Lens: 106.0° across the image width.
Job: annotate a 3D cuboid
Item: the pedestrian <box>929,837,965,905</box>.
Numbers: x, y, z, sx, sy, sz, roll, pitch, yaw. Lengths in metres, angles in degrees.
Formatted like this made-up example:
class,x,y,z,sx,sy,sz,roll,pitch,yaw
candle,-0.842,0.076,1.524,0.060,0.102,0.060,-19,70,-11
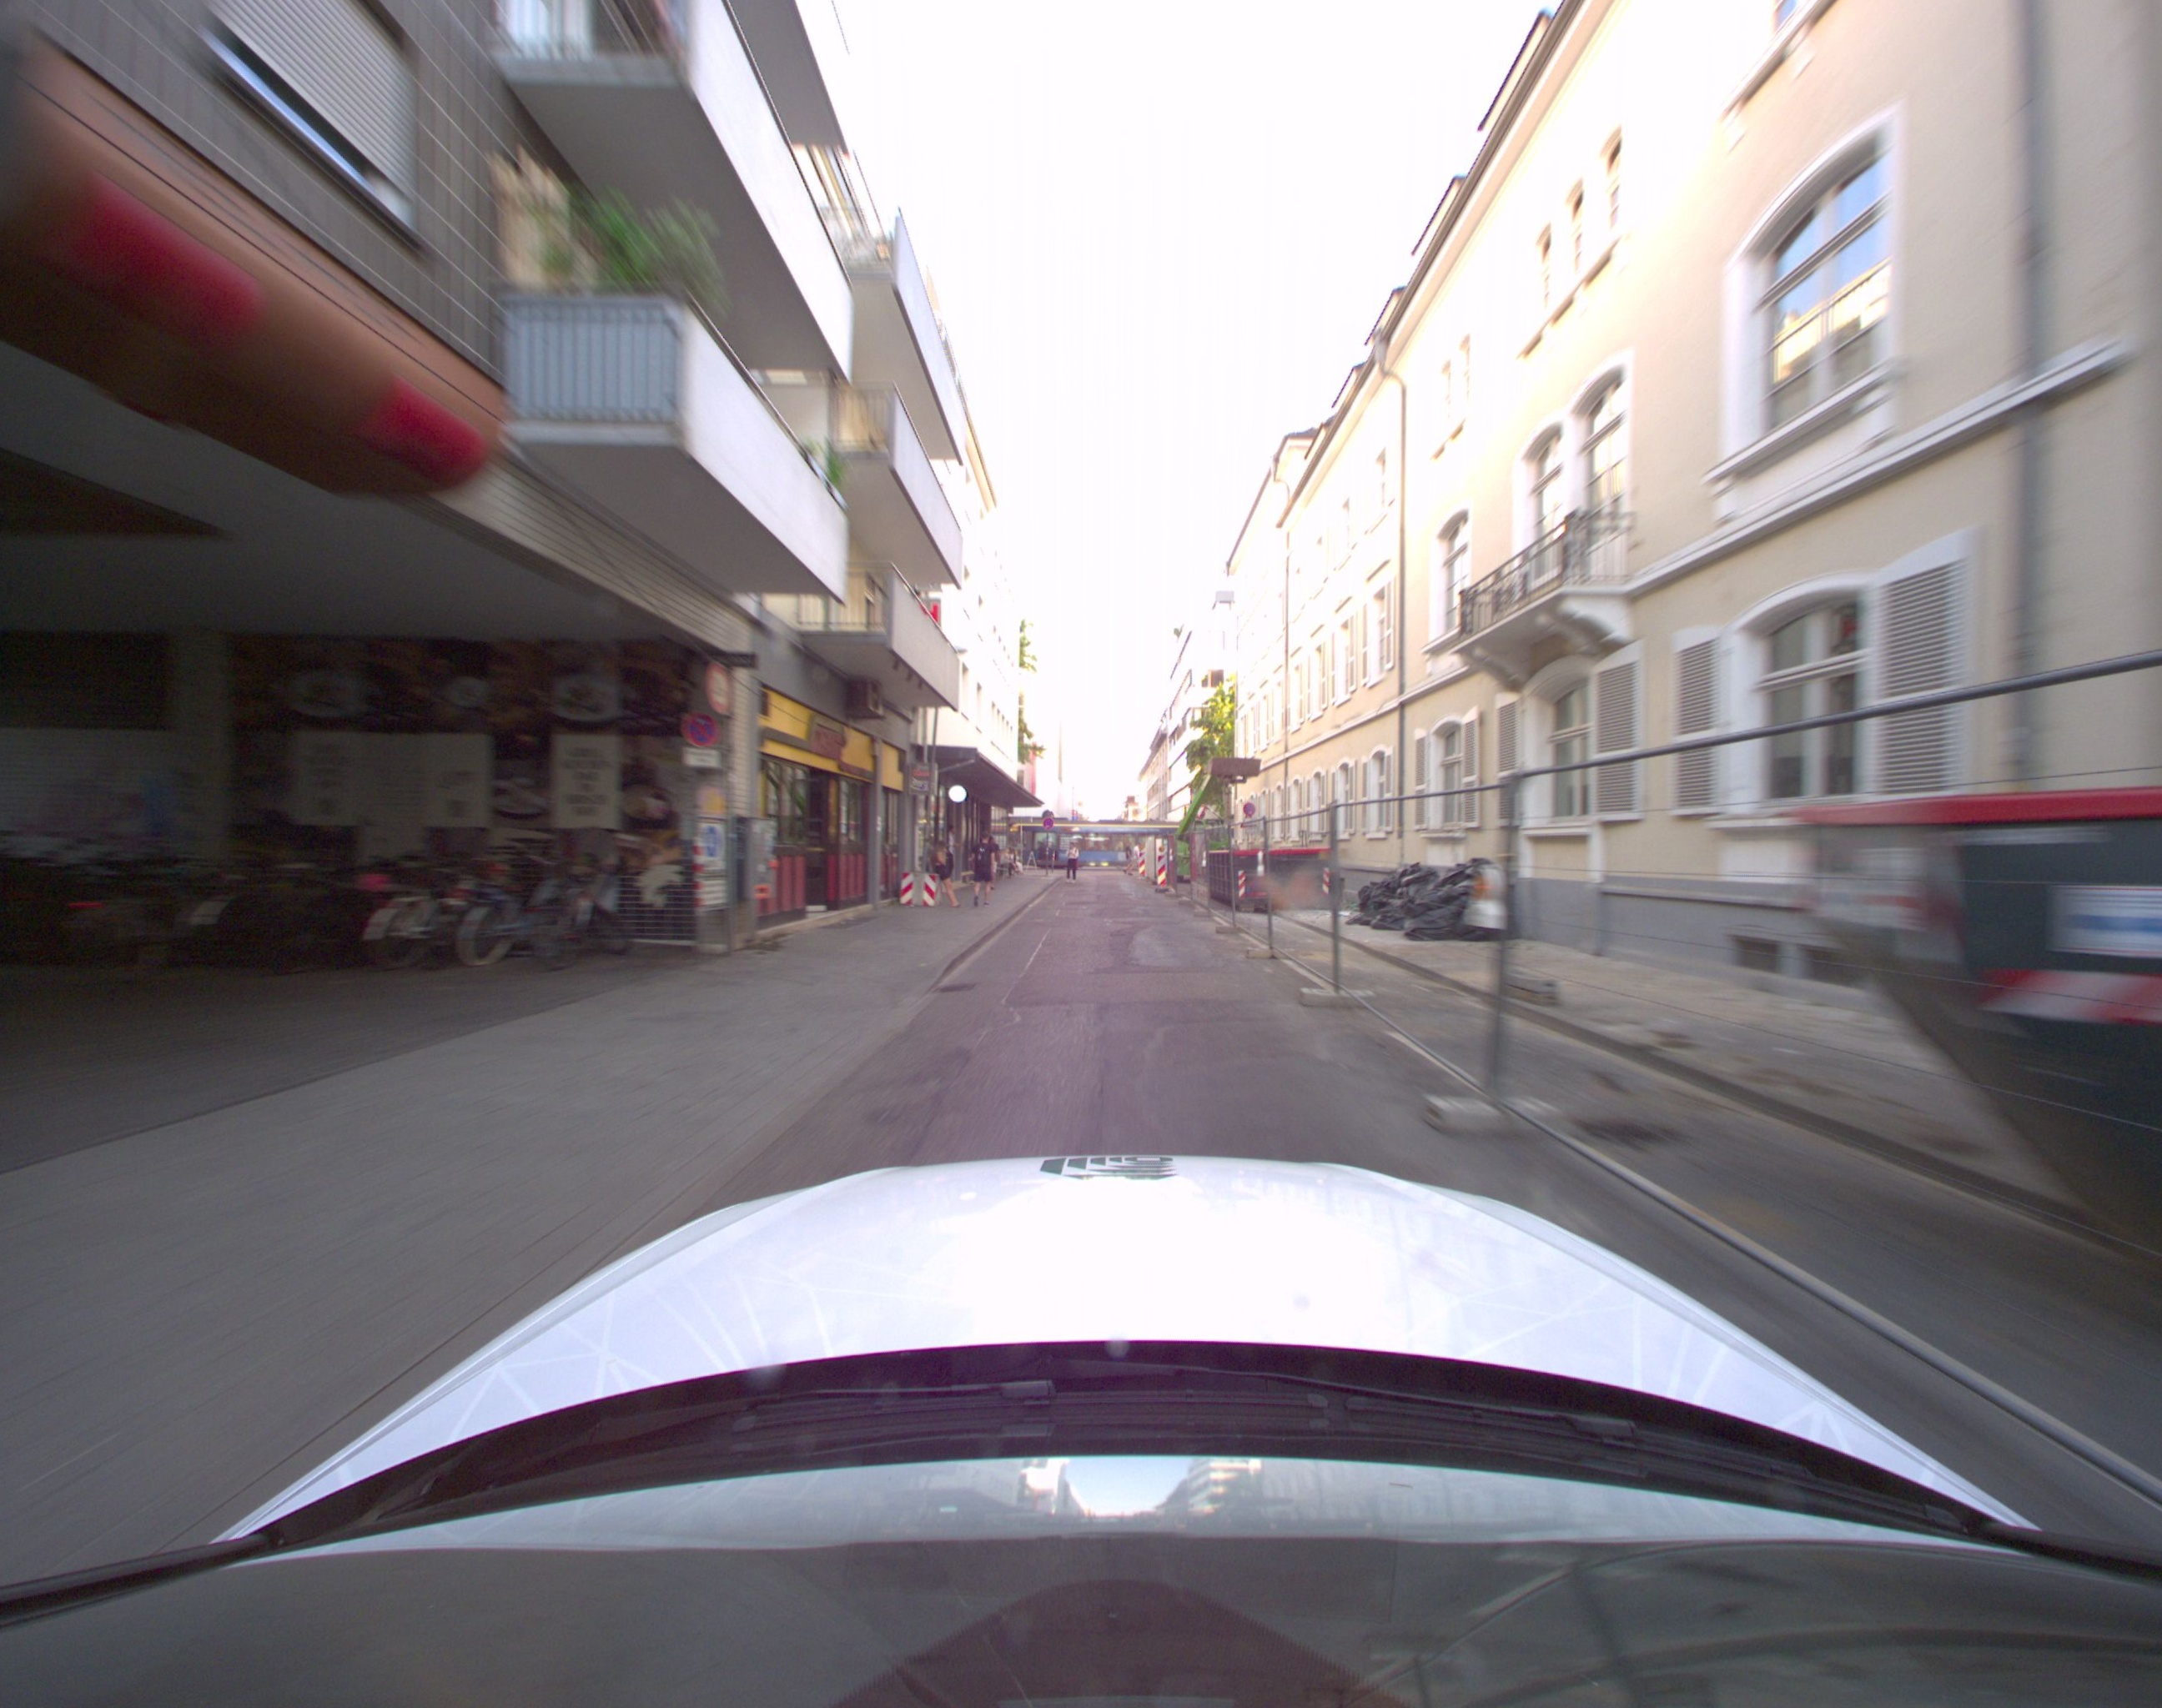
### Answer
class,x,y,z,sx,sy,sz,roll,pitch,yaw
pedestrian,-3.170,0.395,19.306,0.707,1.578,0.613,2,0,-2

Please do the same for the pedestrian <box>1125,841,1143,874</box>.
class,x,y,z,sx,sy,sz,roll,pitch,yaw
pedestrian,2.831,0.158,43.539,0.901,1.739,0.759,-1,0,2

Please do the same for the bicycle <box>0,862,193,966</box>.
class,x,y,z,sx,sy,sz,roll,pitch,yaw
bicycle,-11.132,0.623,9.122,0.425,1.017,1.656,-1,0,6

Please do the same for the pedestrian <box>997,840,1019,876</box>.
class,x,y,z,sx,sy,sz,roll,pitch,yaw
pedestrian,-3.180,0.176,35.481,0.700,1.547,0.863,1,0,9

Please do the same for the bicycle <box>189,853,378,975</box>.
class,x,y,z,sx,sy,sz,roll,pitch,yaw
bicycle,-8.527,0.587,8.806,0.426,1.160,1.652,2,1,-2

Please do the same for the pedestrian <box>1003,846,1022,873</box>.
class,x,y,z,sx,sy,sz,roll,pitch,yaw
pedestrian,-3.232,0.248,38.378,0.701,1.195,0.692,4,0,4

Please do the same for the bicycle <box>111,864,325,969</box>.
class,x,y,z,sx,sy,sz,roll,pitch,yaw
bicycle,-9.584,0.644,9.162,0.426,1.017,1.875,-1,1,-1

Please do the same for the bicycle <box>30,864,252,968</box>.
class,x,y,z,sx,sy,sz,roll,pitch,yaw
bicycle,-10.352,0.637,9.061,0.425,1.017,1.656,-1,0,6

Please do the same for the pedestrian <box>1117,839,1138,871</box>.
class,x,y,z,sx,sy,sz,roll,pitch,yaw
pedestrian,2.539,0.065,44.490,1.137,1.739,0.759,-1,0,2

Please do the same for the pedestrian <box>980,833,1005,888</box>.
class,x,y,z,sx,sy,sz,roll,pitch,yaw
pedestrian,-2.935,0.199,27.053,0.701,1.782,0.933,1,0,1

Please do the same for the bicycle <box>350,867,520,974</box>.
class,x,y,z,sx,sy,sz,roll,pitch,yaw
bicycle,-7.014,0.674,8.960,0.425,1.017,1.751,0,1,2

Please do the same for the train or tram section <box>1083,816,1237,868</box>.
class,x,y,z,sx,sy,sz,roll,pitch,yaw
train or tram section,5.305,-0.809,55.879,10.301,3.523,3.026,0,0,0

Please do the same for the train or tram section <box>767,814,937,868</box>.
class,x,y,z,sx,sy,sz,roll,pitch,yaw
train or tram section,-15.576,-0.858,55.910,10.773,3.523,3.013,0,0,0

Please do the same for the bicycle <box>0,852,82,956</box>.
class,x,y,z,sx,sy,sz,roll,pitch,yaw
bicycle,-12.349,0.561,8.987,0.502,1.157,1.656,-1,0,6

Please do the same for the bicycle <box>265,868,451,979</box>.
class,x,y,z,sx,sy,sz,roll,pitch,yaw
bicycle,-7.624,0.684,8.689,0.450,1.017,1.654,1,1,2

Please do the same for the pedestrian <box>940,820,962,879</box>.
class,x,y,z,sx,sy,sz,roll,pitch,yaw
pedestrian,-4.025,-0.140,25.203,0.542,1.810,0.613,-1,0,1

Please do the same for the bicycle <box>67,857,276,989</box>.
class,x,y,z,sx,sy,sz,roll,pitch,yaw
bicycle,-8.811,0.608,7.986,0.427,1.124,1.647,-1,0,-10

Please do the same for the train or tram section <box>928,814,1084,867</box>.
class,x,y,z,sx,sy,sz,roll,pitch,yaw
train or tram section,-5.009,-0.896,55.897,10.331,3.524,3.017,0,-1,0

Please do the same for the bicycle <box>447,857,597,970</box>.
class,x,y,z,sx,sy,sz,roll,pitch,yaw
bicycle,-6.321,0.616,9.327,0.425,1.139,1.793,1,1,2

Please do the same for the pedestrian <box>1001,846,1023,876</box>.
class,x,y,z,sx,sy,sz,roll,pitch,yaw
pedestrian,-3.100,0.315,36.549,0.707,1.286,0.854,1,0,-23

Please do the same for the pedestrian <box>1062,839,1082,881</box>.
class,x,y,z,sx,sy,sz,roll,pitch,yaw
pedestrian,-0.379,0.246,34.245,0.754,1.739,0.785,-2,0,1

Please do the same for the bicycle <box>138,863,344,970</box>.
class,x,y,z,sx,sy,sz,roll,pitch,yaw
bicycle,-9.143,0.637,8.967,0.425,1.028,1.656,-1,0,6

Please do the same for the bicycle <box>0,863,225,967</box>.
class,x,y,z,sx,sy,sz,roll,pitch,yaw
bicycle,-10.709,0.630,9.091,0.425,1.017,1.656,-1,0,6

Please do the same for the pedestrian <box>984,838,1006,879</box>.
class,x,y,z,sx,sy,sz,roll,pitch,yaw
pedestrian,-3.300,0.168,31.225,0.660,1.569,0.633,2,1,-25

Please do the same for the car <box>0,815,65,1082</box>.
class,x,y,z,sx,sy,sz,roll,pitch,yaw
car,-8.112,0.481,3.671,4.417,1.463,2.070,1,1,0

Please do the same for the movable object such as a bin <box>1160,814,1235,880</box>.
class,x,y,z,sx,sy,sz,roll,pitch,yaw
movable object such as a bin,5.320,-0.342,38.105,2.627,2.872,5.563,0,1,-1

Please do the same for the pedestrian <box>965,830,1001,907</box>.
class,x,y,z,sx,sy,sz,roll,pitch,yaw
pedestrian,-2.361,0.341,19.771,0.712,1.810,0.933,-1,0,1

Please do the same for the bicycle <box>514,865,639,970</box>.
class,x,y,z,sx,sy,sz,roll,pitch,yaw
bicycle,-5.620,0.668,9.162,0.441,1.038,1.465,2,0,1

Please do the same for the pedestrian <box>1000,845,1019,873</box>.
class,x,y,z,sx,sy,sz,roll,pitch,yaw
pedestrian,-3.284,0.240,37.513,0.701,1.239,0.779,4,0,4

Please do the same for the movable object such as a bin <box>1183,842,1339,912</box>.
class,x,y,z,sx,sy,sz,roll,pitch,yaw
movable object such as a bin,4.863,0.513,23.564,2.881,1.664,7.293,0,1,0

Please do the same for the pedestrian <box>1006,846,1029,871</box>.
class,x,y,z,sx,sy,sz,roll,pitch,yaw
pedestrian,-3.107,0.217,39.674,0.697,1.219,0.847,1,0,38
